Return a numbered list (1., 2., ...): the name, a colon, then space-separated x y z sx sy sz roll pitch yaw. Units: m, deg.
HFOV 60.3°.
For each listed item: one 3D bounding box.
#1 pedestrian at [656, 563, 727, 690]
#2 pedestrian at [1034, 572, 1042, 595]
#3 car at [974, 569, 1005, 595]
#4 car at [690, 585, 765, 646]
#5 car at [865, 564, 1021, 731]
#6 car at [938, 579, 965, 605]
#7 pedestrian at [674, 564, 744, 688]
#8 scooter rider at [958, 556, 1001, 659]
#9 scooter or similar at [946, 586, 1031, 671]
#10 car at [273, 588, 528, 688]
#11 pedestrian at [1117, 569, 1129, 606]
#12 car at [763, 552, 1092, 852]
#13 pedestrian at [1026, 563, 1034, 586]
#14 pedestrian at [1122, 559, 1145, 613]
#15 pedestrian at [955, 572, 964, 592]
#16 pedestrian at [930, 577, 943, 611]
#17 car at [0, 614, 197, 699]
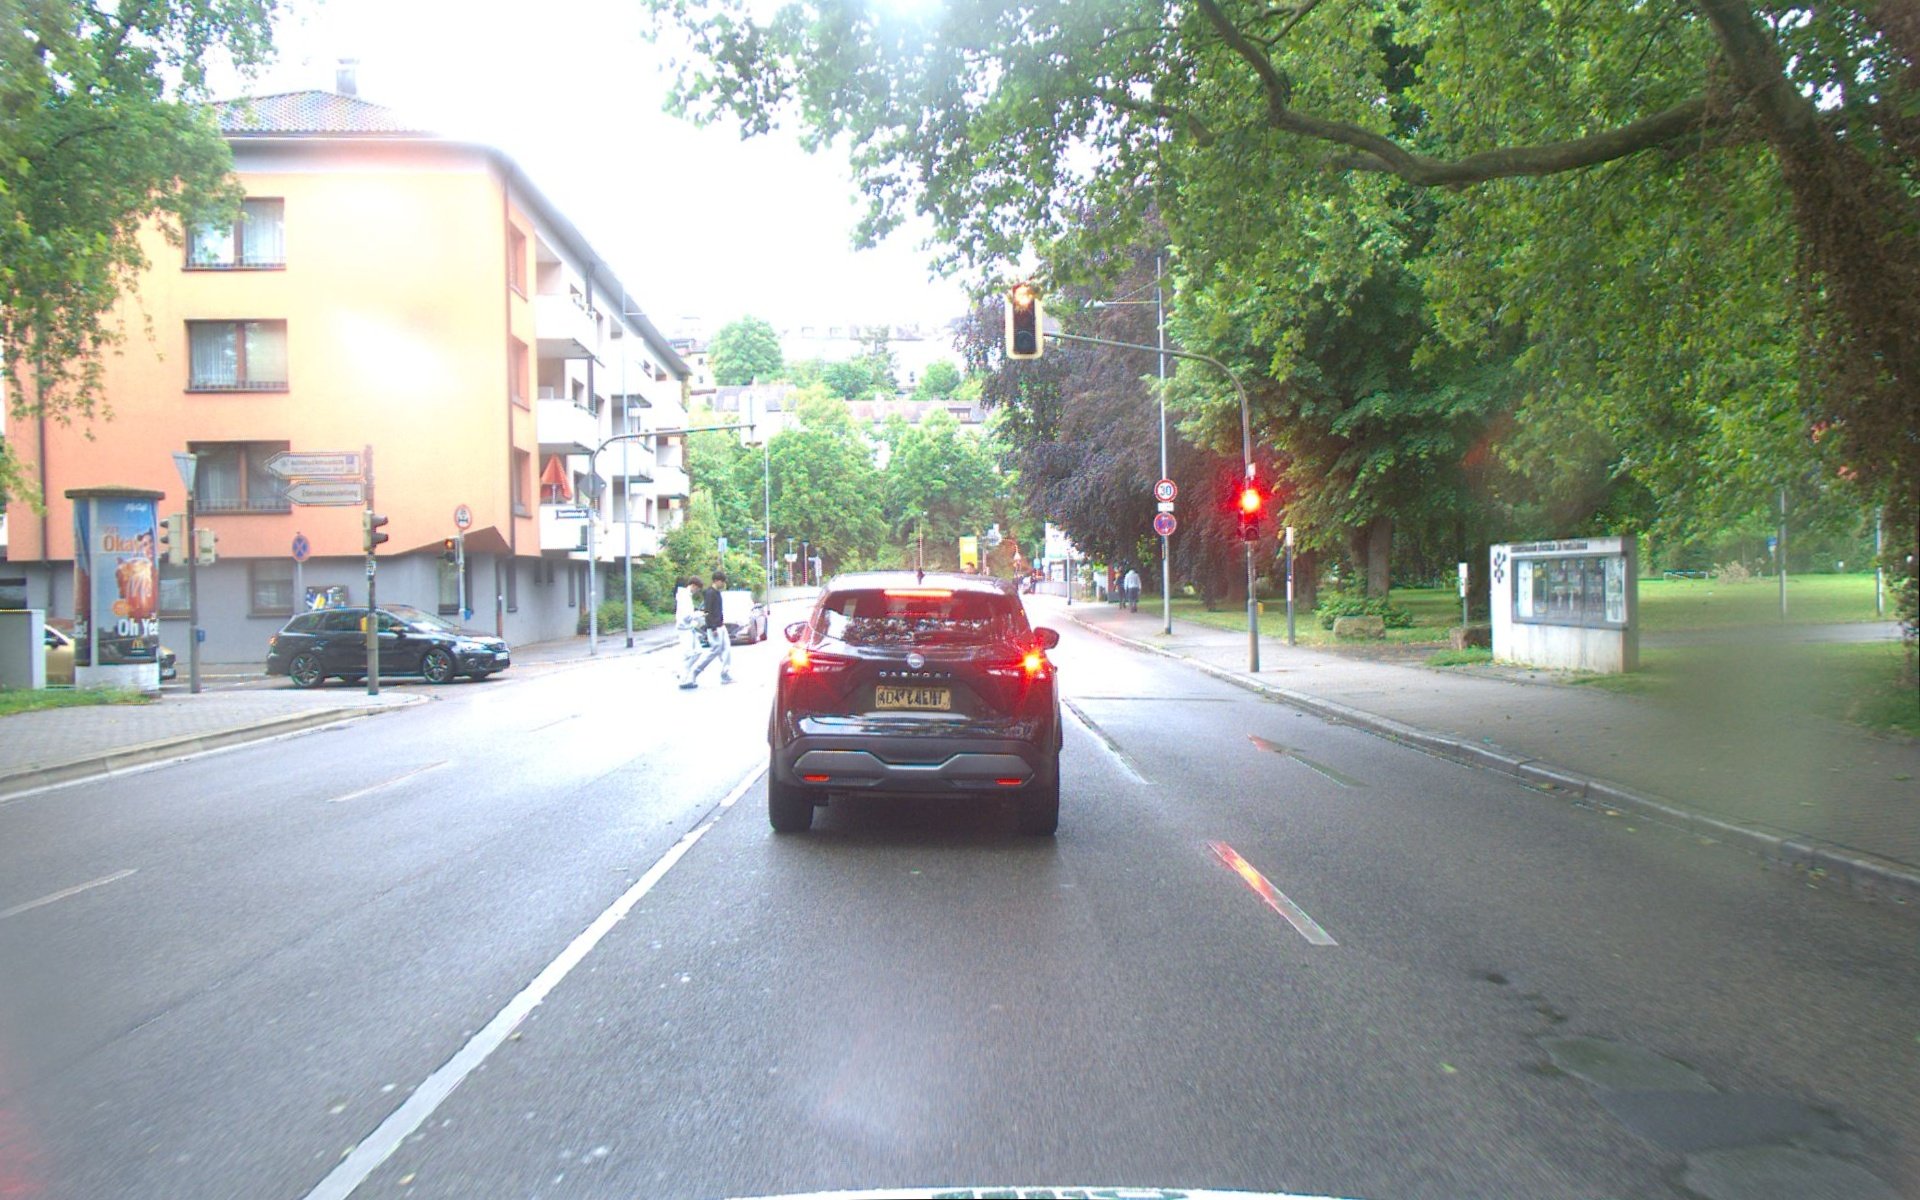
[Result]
1. pedestrian: -4.187 0.402 25.749 1.017 1.908 0.656 -2 0 -12
2. pedestrian: 6.368 -1.375 135.293 0.498 1.833 0.619 -2 0 -2
3. car: 2.089 -1.265 116.373 1.952 1.765 4.002 1 0 4
4. car: -6.443 0.399 46.208 1.760 1.560 3.864 -2 1 -4
5. car: -0.209 0.504 19.969 1.664 1.776 3.640 -2 1 -1
6. car: -0.566 -0.489 104.240 1.601 1.559 3.967 -2 1 -1
7. pedestrian: -4.019 0.405 26.499 1.017 1.908 0.656 -2 0 -12
8. scooter rider: 0.354 0.138 29.489 0.629 1.797 0.736 -1 -1 11
9. scooter or similar: 0.508 0.513 29.463 1.364 1.471 0.818 -1 -1 11
10. car: -10.361 0.684 30.811 4.036 1.654 1.853 -2 0 6
11. pedestrian: 6.700 -0.513 68.056 0.382 1.528 0.559 -2 0 -1
12. car: -0.203 0.566 11.485 1.874 1.709 4.000 0 1 -1
13. pedestrian: 5.726 -2.068 135.218 0.498 1.833 0.619 -2 0 -1
14. pedestrian: 6.686 -0.554 63.815 0.710 2.049 0.851 -2 0 -1
15. pedestrian: -0.061 -1.525 140.585 0.498 1.702 0.658 -2 0 27
16. pedestrian: -1.258 -0.315 89.112 0.500 1.833 0.617 -2 0 -16
17. car: -17.152 1.075 31.290 4.540 1.428 1.832 -2 0 0
